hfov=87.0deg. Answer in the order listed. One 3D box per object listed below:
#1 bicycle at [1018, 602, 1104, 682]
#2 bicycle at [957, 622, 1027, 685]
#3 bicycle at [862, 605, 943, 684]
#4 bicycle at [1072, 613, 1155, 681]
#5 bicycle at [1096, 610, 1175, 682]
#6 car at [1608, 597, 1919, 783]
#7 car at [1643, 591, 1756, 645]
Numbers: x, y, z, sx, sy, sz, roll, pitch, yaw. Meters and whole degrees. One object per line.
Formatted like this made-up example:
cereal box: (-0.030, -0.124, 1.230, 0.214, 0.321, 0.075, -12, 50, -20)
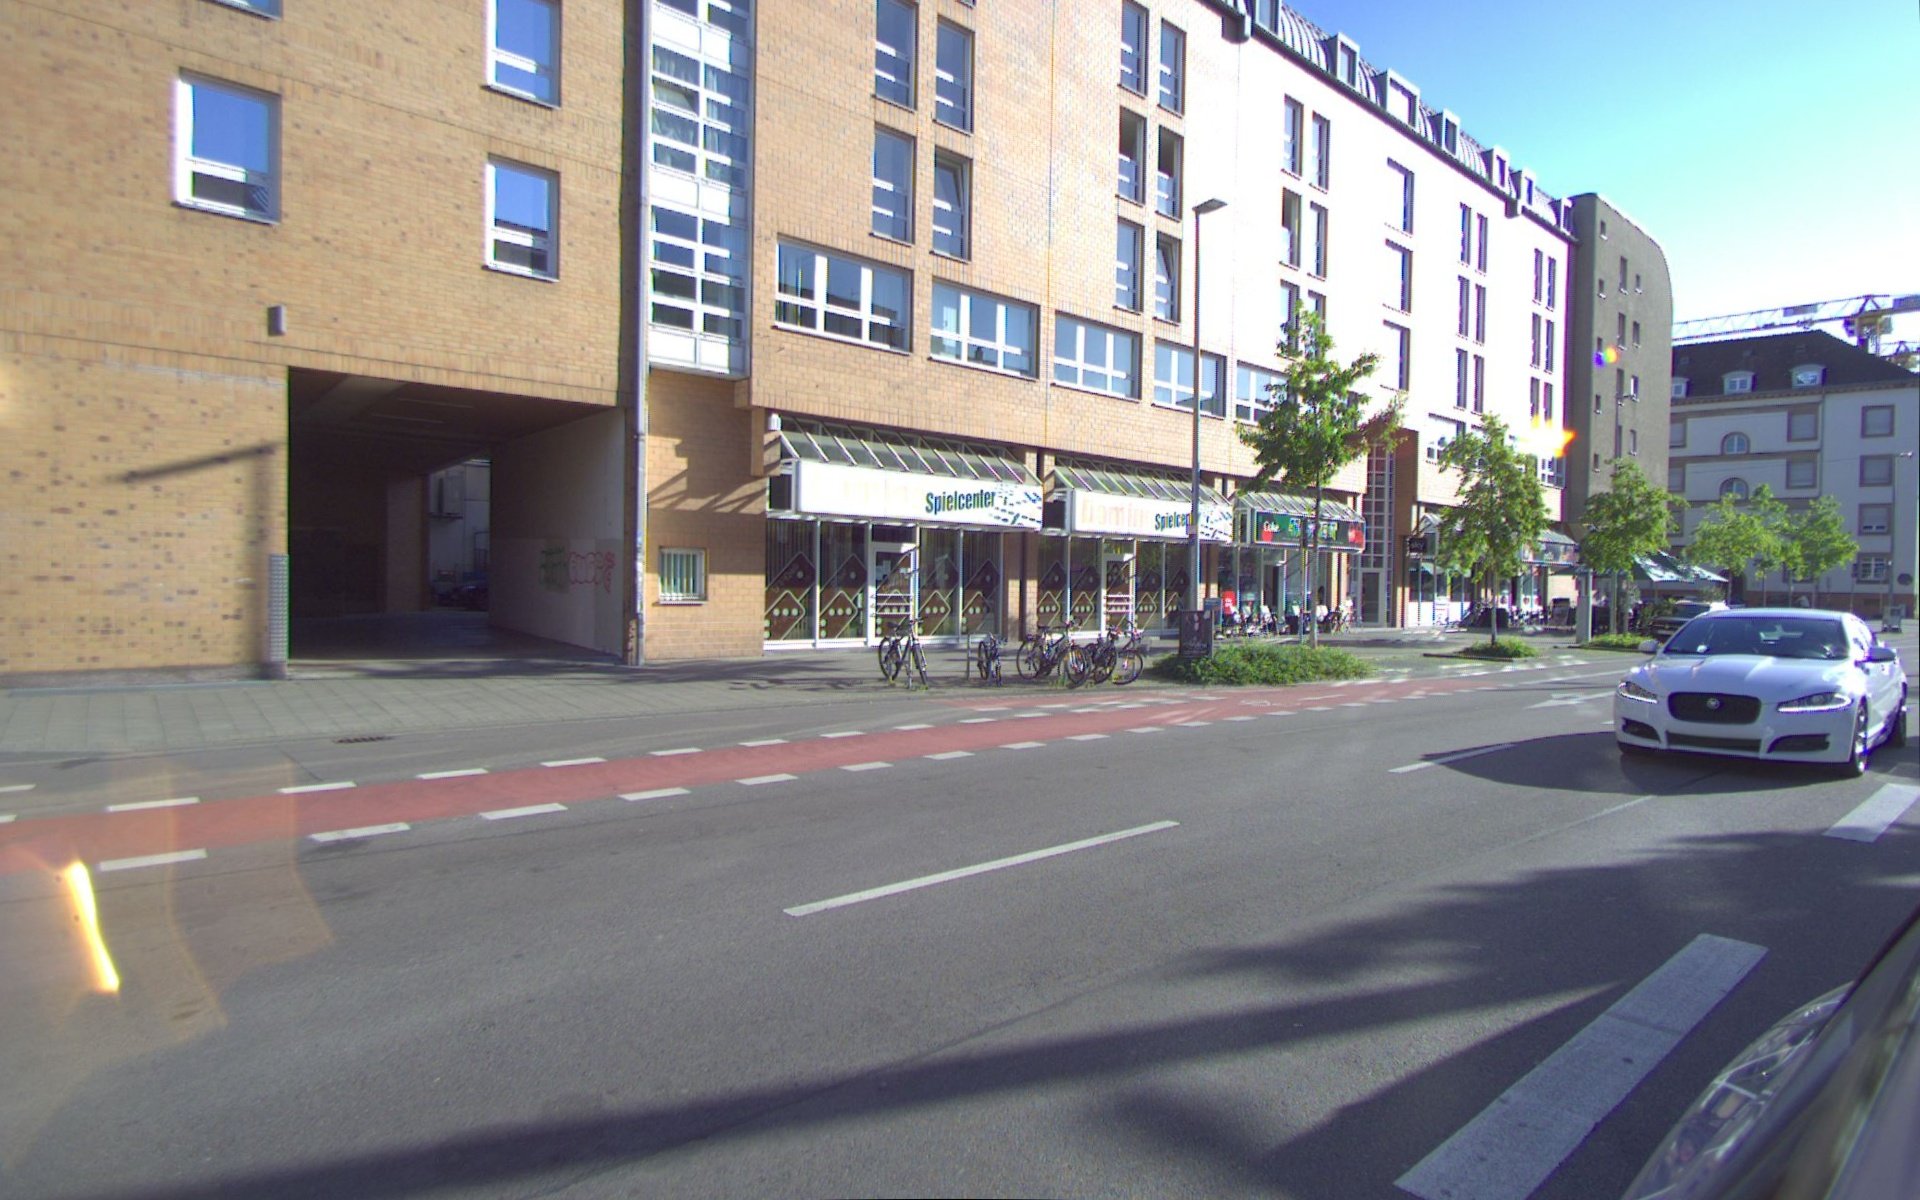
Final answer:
bicycle: (1.685, 0.674, 17.207, 0.553, 1.177, 1.843, 0, 3, -26)
bicycle: (0.506, 0.863, 16.810, 0.359, 0.842, 1.779, 0, 3, -26)
bicycle: (-0.943, 0.678, 16.202, 0.423, 1.089, 1.776, -1, 4, -35)
bicycle: (2.653, 0.792, 17.657, 0.440, 0.997, 1.843, 0, 3, -26)
bicycle: (3.065, 0.783, 17.879, 0.343, 1.069, 1.843, 0, 3, -26)
car: (8.262, 0.712, 10.217, 4.376, 1.448, 1.806, 0, 1, -42)
car: (25.727, 0.595, 35.192, 3.921, 1.659, 1.782, 0, 3, -33)
